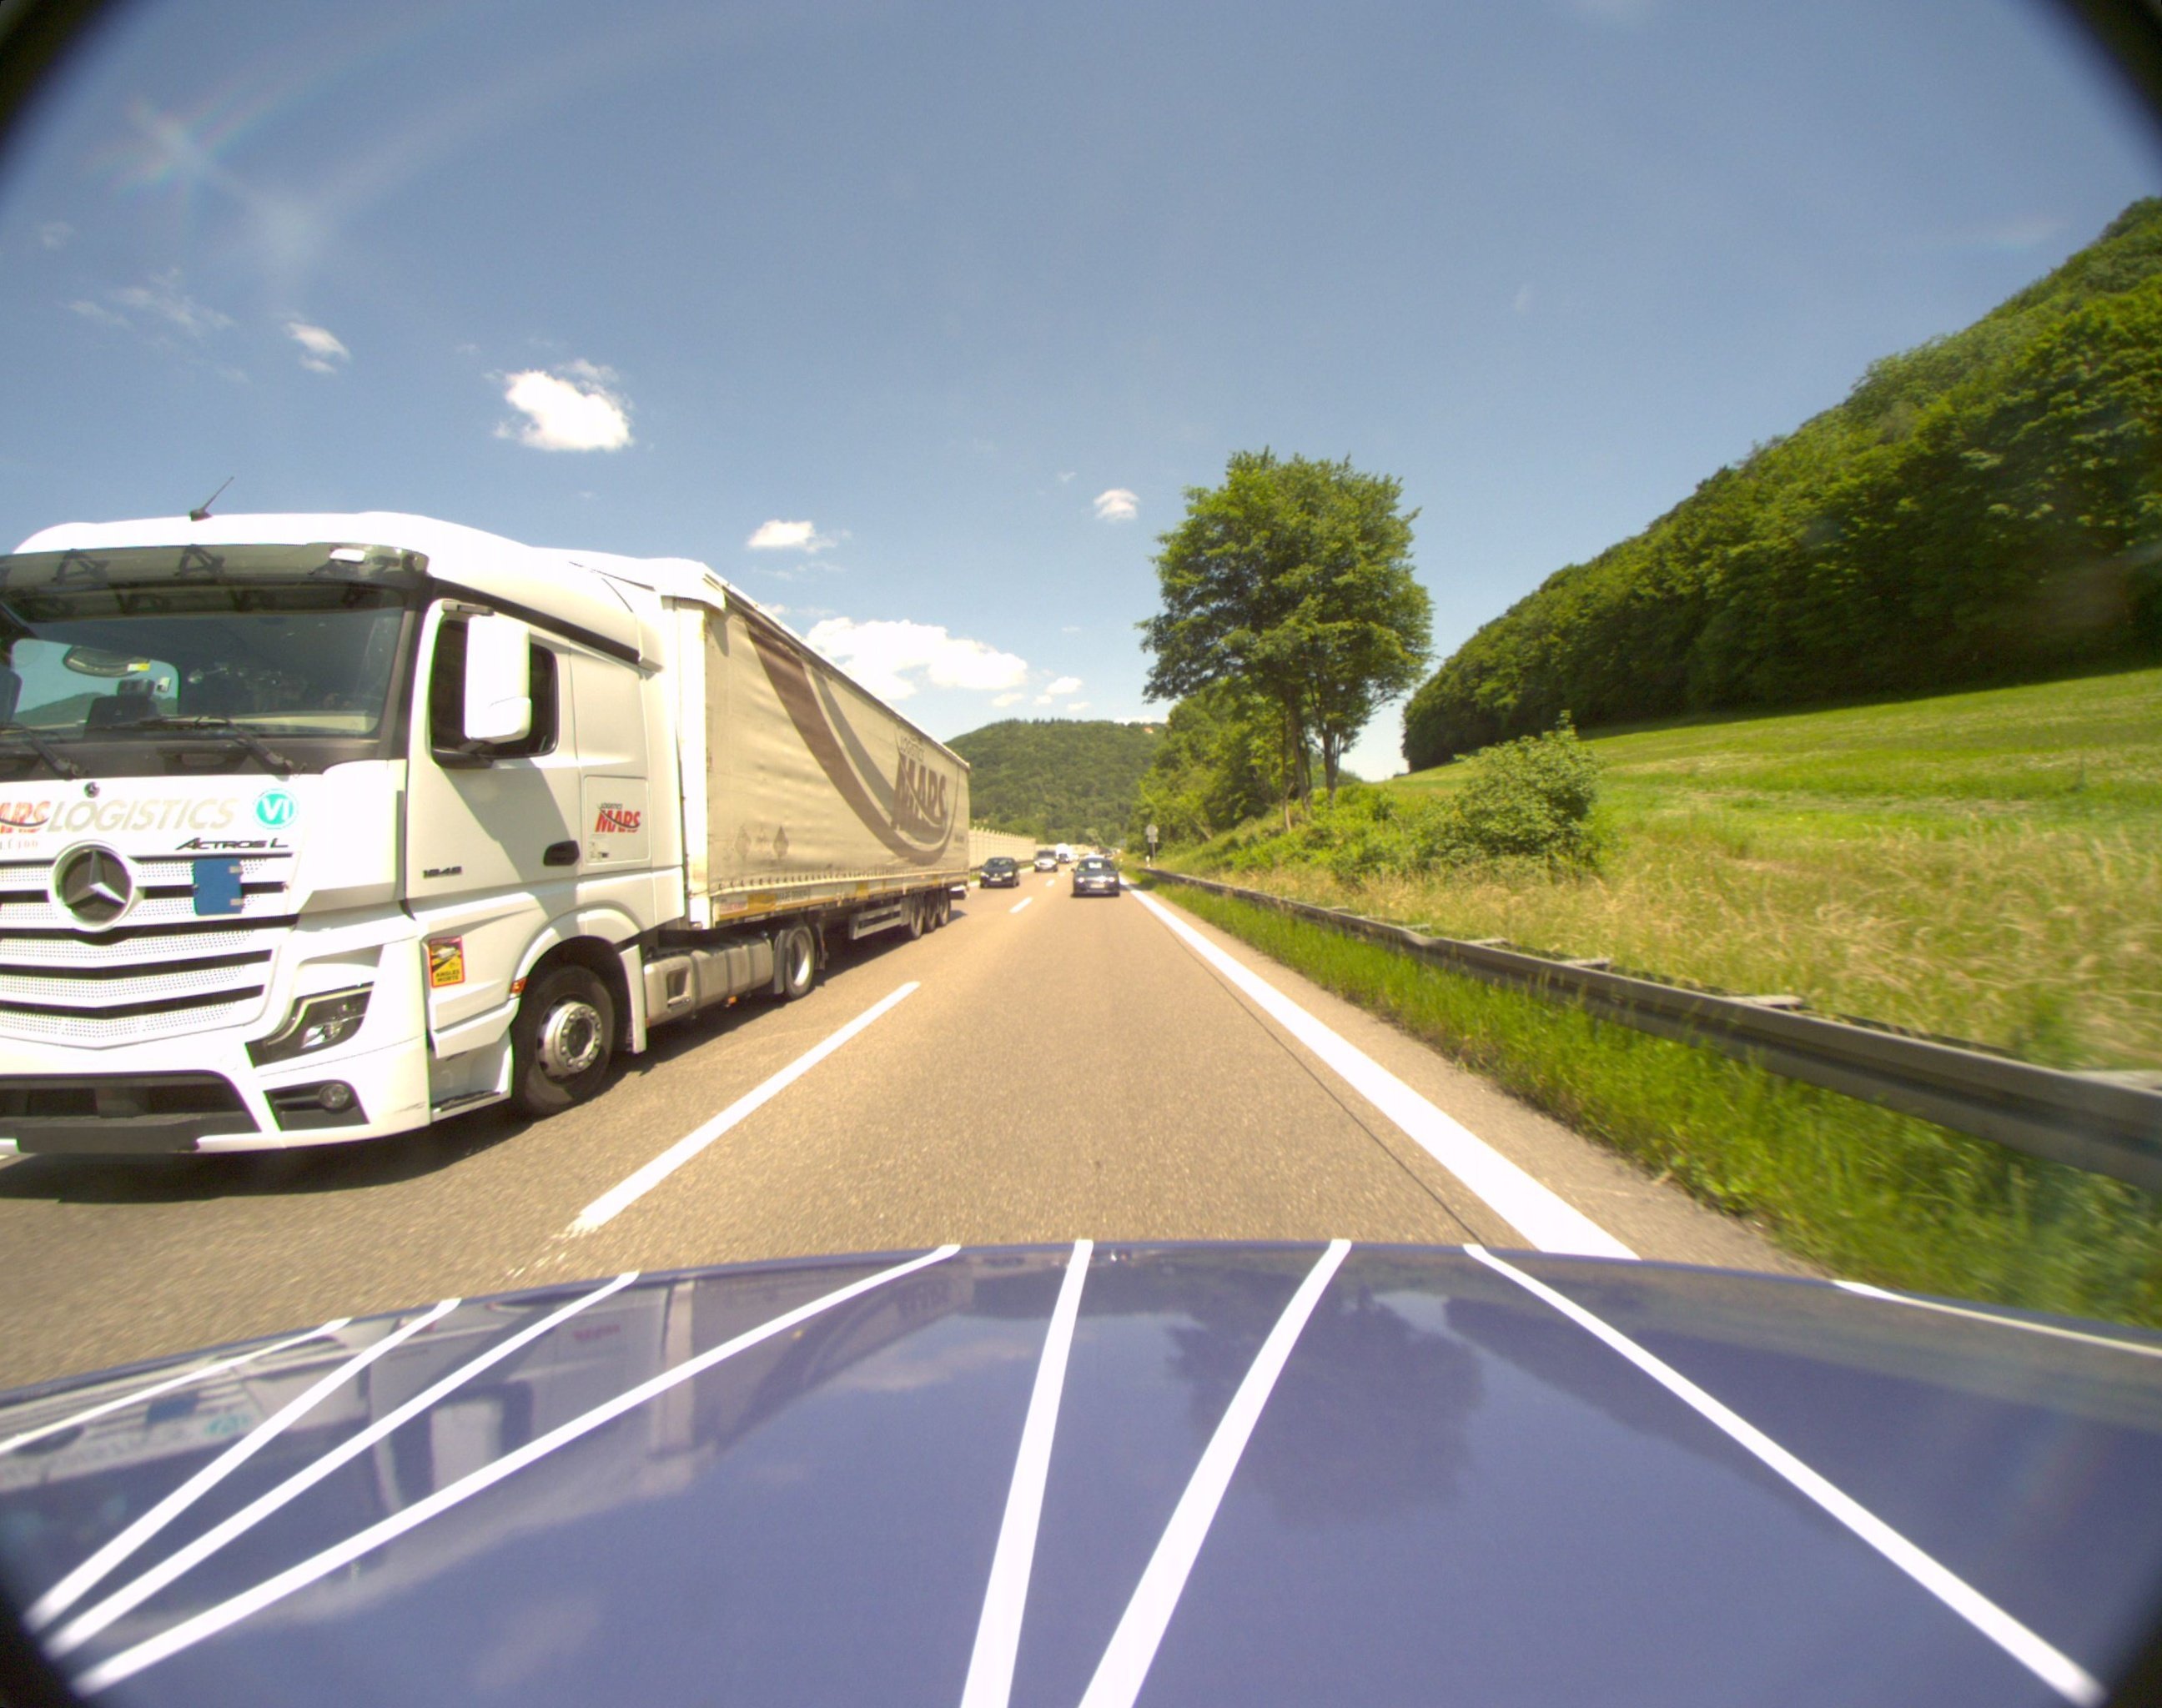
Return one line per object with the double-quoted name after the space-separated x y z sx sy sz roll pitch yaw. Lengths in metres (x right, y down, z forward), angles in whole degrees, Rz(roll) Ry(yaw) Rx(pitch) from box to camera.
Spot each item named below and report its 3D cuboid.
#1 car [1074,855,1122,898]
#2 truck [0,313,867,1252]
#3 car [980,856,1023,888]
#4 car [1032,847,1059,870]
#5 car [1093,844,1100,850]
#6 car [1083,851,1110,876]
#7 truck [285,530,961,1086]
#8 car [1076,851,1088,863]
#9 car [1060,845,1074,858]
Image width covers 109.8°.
0.627 0.794 28.234 1.662 1.436 3.475 -1 1 1 "car"
-4.376 -0.355 6.725 2.764 4.015 6.823 2 1 1 "truck"
-3.774 0.844 36.607 1.662 1.405 3.475 -1 1 1 "car"
-3.050 0.380 66.013 2.043 1.854 4.000 -3 -1 0 "car"
4.462 -1.991 225.823 1.998 1.722 3.999 2 1 1 "car"
1.024 0.616 51.207 1.715 1.541 4.000 -1 0 1 "car"
-4.389 -0.395 11.755 2.861 4.124 12.046 -1 1 1 "truck"
0.226 0.526 139.512 1.998 2.002 4.000 -2 0 1 "car"
-2.143 -0.373 117.526 1.998 1.892 4.001 0 0 2 "car"
